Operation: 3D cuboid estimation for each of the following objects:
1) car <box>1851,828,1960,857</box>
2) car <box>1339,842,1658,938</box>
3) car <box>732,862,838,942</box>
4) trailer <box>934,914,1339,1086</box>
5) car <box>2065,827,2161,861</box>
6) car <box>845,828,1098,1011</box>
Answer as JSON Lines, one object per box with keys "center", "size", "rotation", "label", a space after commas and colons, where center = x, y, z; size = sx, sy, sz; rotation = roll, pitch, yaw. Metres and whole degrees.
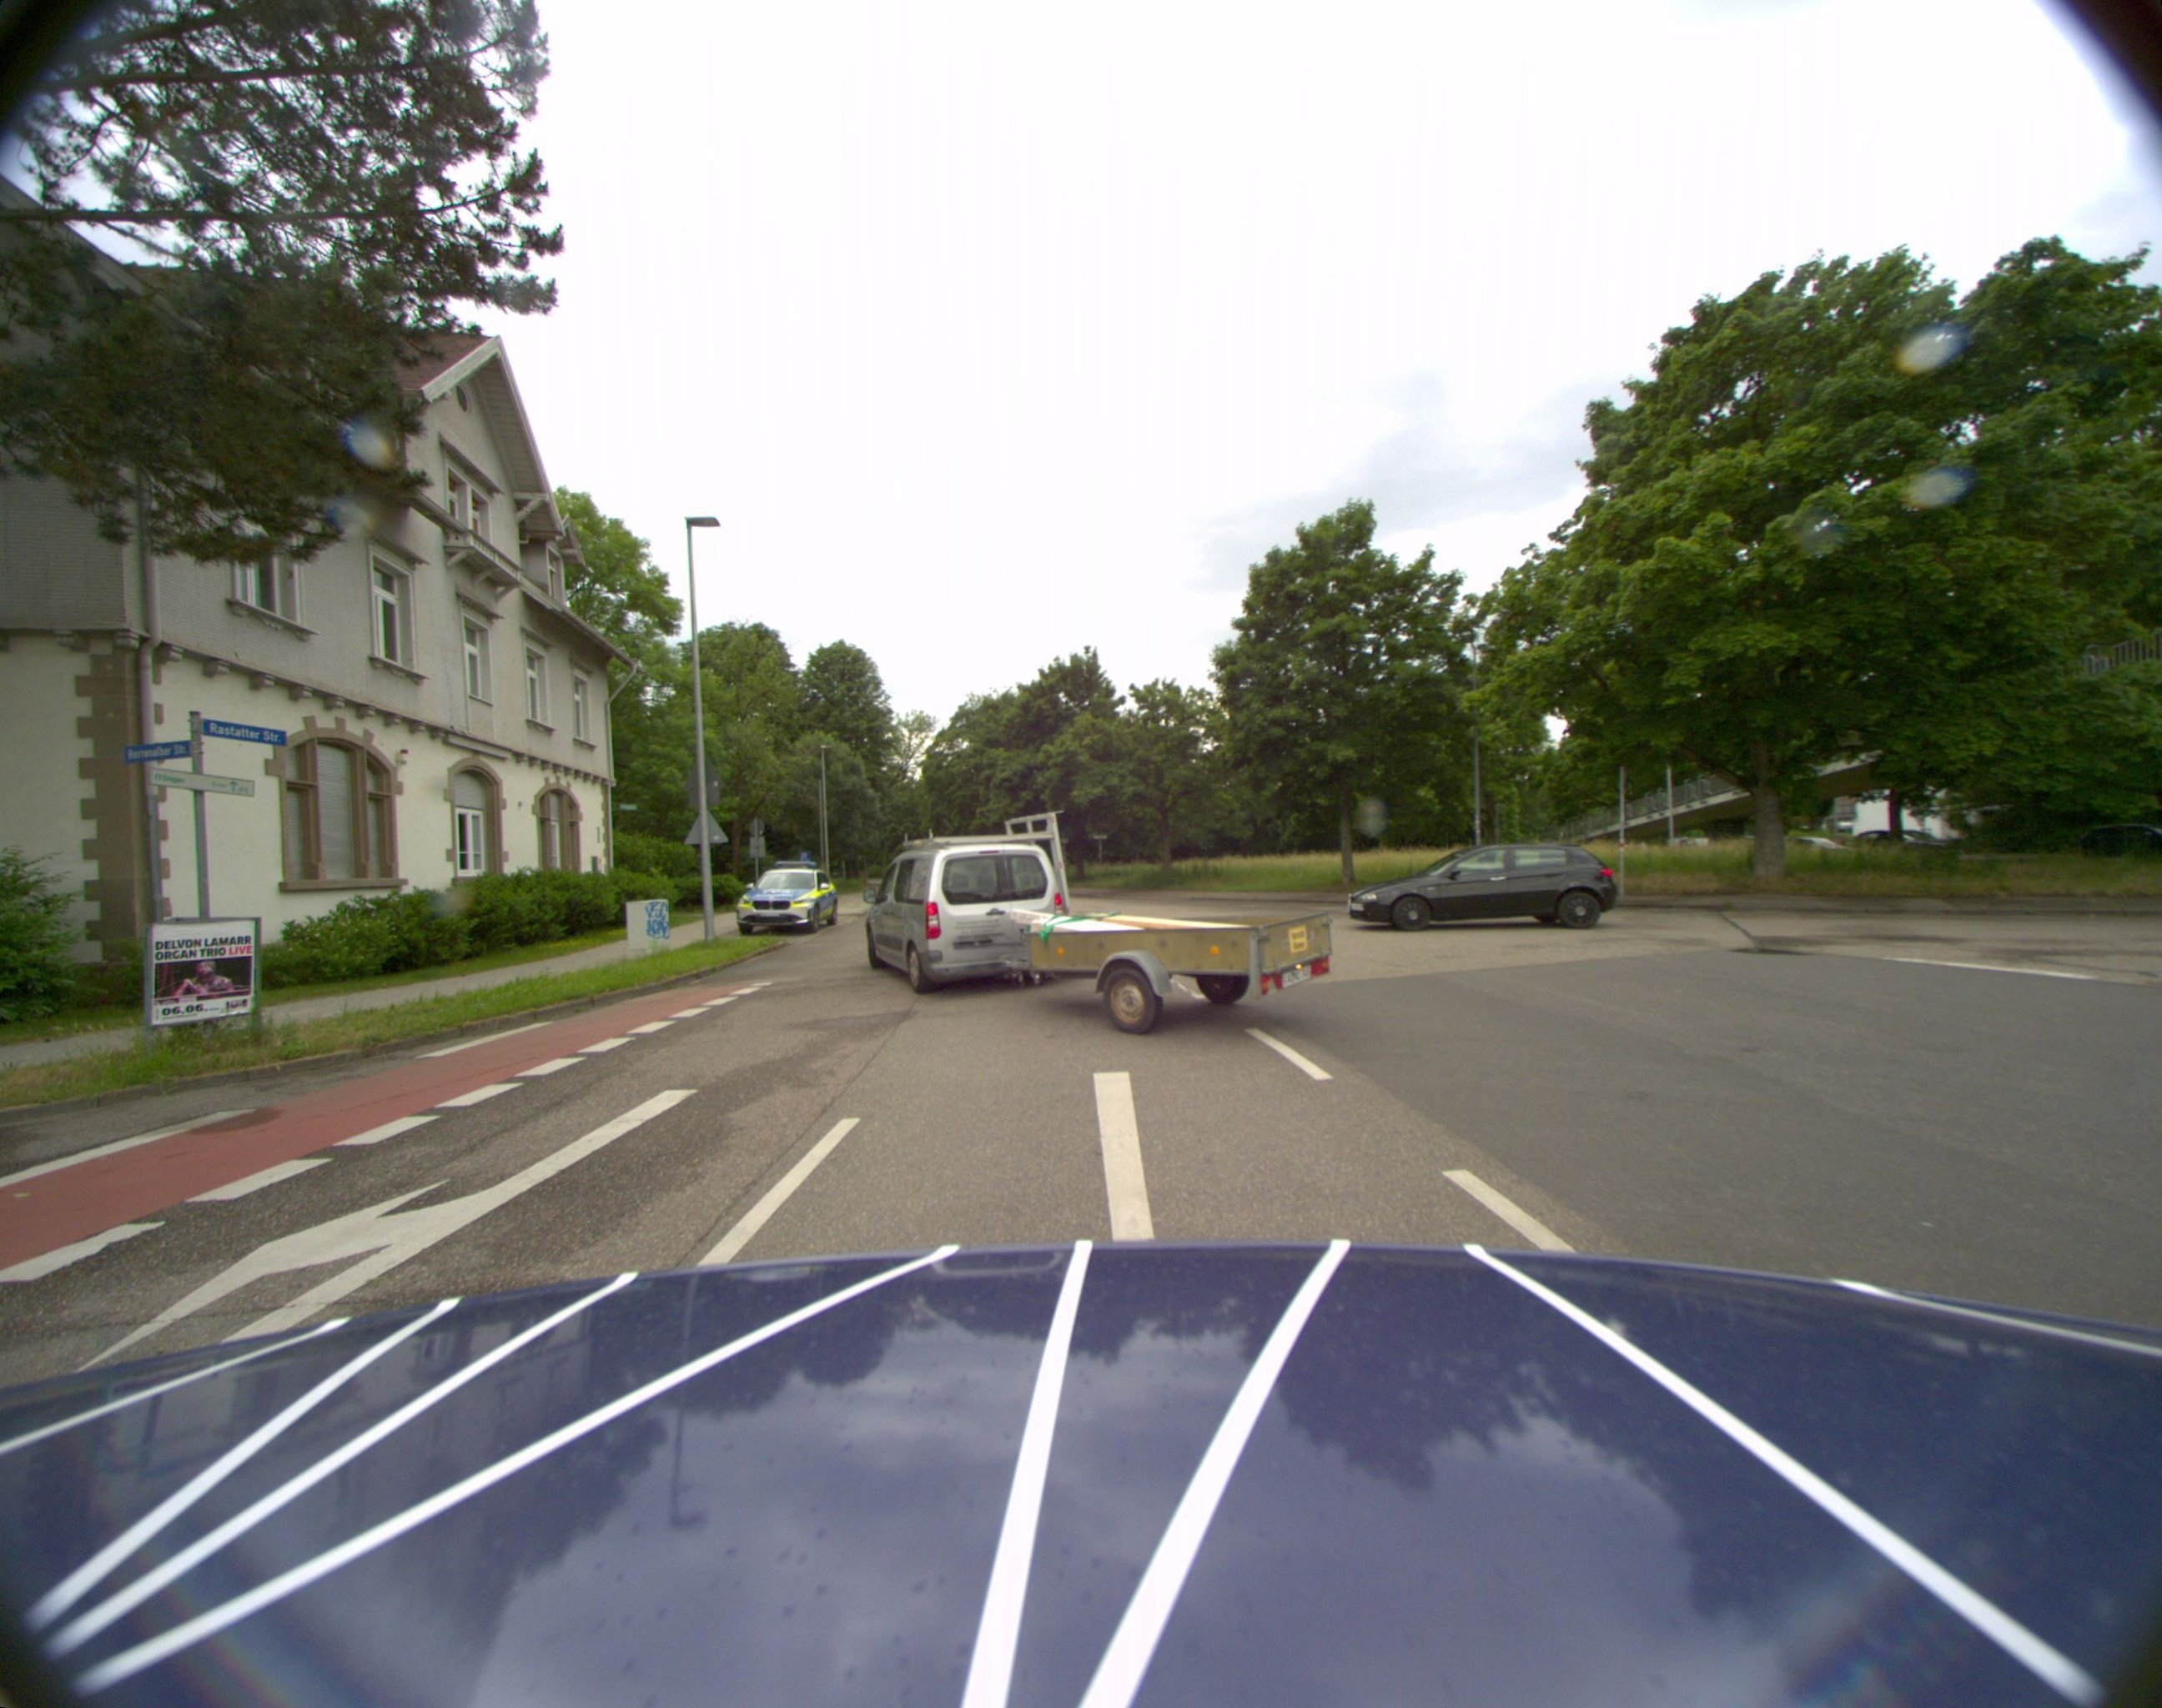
{"center": [41.828, -0.573, 38.679], "size": [1.692, 1.343, 4.003], "rotation": [-2, 0, 11], "label": "car"}
{"center": [6.958, 0.615, 13.227], "size": [4.532, 1.448, 1.805], "rotation": [-2, 0, 15], "label": "car"}
{"center": [-7.613, 1.150, 19.921], "size": [1.937, 1.839, 3.996], "rotation": [0, 0, -12], "label": "car"}
{"center": [0.406, 1.176, 7.109], "size": [3.455, 0.980, 1.575], "rotation": [-1, 1, 38], "label": "trailer"}
{"center": [40.406, -0.392, 28.701], "size": [1.692, 1.231, 4.003], "rotation": [-2, 0, 11], "label": "car"}
{"center": [-1.691, 0.676, 10.114], "size": [2.097, 1.847, 4.213], "rotation": [-2, 0, -26], "label": "car"}
